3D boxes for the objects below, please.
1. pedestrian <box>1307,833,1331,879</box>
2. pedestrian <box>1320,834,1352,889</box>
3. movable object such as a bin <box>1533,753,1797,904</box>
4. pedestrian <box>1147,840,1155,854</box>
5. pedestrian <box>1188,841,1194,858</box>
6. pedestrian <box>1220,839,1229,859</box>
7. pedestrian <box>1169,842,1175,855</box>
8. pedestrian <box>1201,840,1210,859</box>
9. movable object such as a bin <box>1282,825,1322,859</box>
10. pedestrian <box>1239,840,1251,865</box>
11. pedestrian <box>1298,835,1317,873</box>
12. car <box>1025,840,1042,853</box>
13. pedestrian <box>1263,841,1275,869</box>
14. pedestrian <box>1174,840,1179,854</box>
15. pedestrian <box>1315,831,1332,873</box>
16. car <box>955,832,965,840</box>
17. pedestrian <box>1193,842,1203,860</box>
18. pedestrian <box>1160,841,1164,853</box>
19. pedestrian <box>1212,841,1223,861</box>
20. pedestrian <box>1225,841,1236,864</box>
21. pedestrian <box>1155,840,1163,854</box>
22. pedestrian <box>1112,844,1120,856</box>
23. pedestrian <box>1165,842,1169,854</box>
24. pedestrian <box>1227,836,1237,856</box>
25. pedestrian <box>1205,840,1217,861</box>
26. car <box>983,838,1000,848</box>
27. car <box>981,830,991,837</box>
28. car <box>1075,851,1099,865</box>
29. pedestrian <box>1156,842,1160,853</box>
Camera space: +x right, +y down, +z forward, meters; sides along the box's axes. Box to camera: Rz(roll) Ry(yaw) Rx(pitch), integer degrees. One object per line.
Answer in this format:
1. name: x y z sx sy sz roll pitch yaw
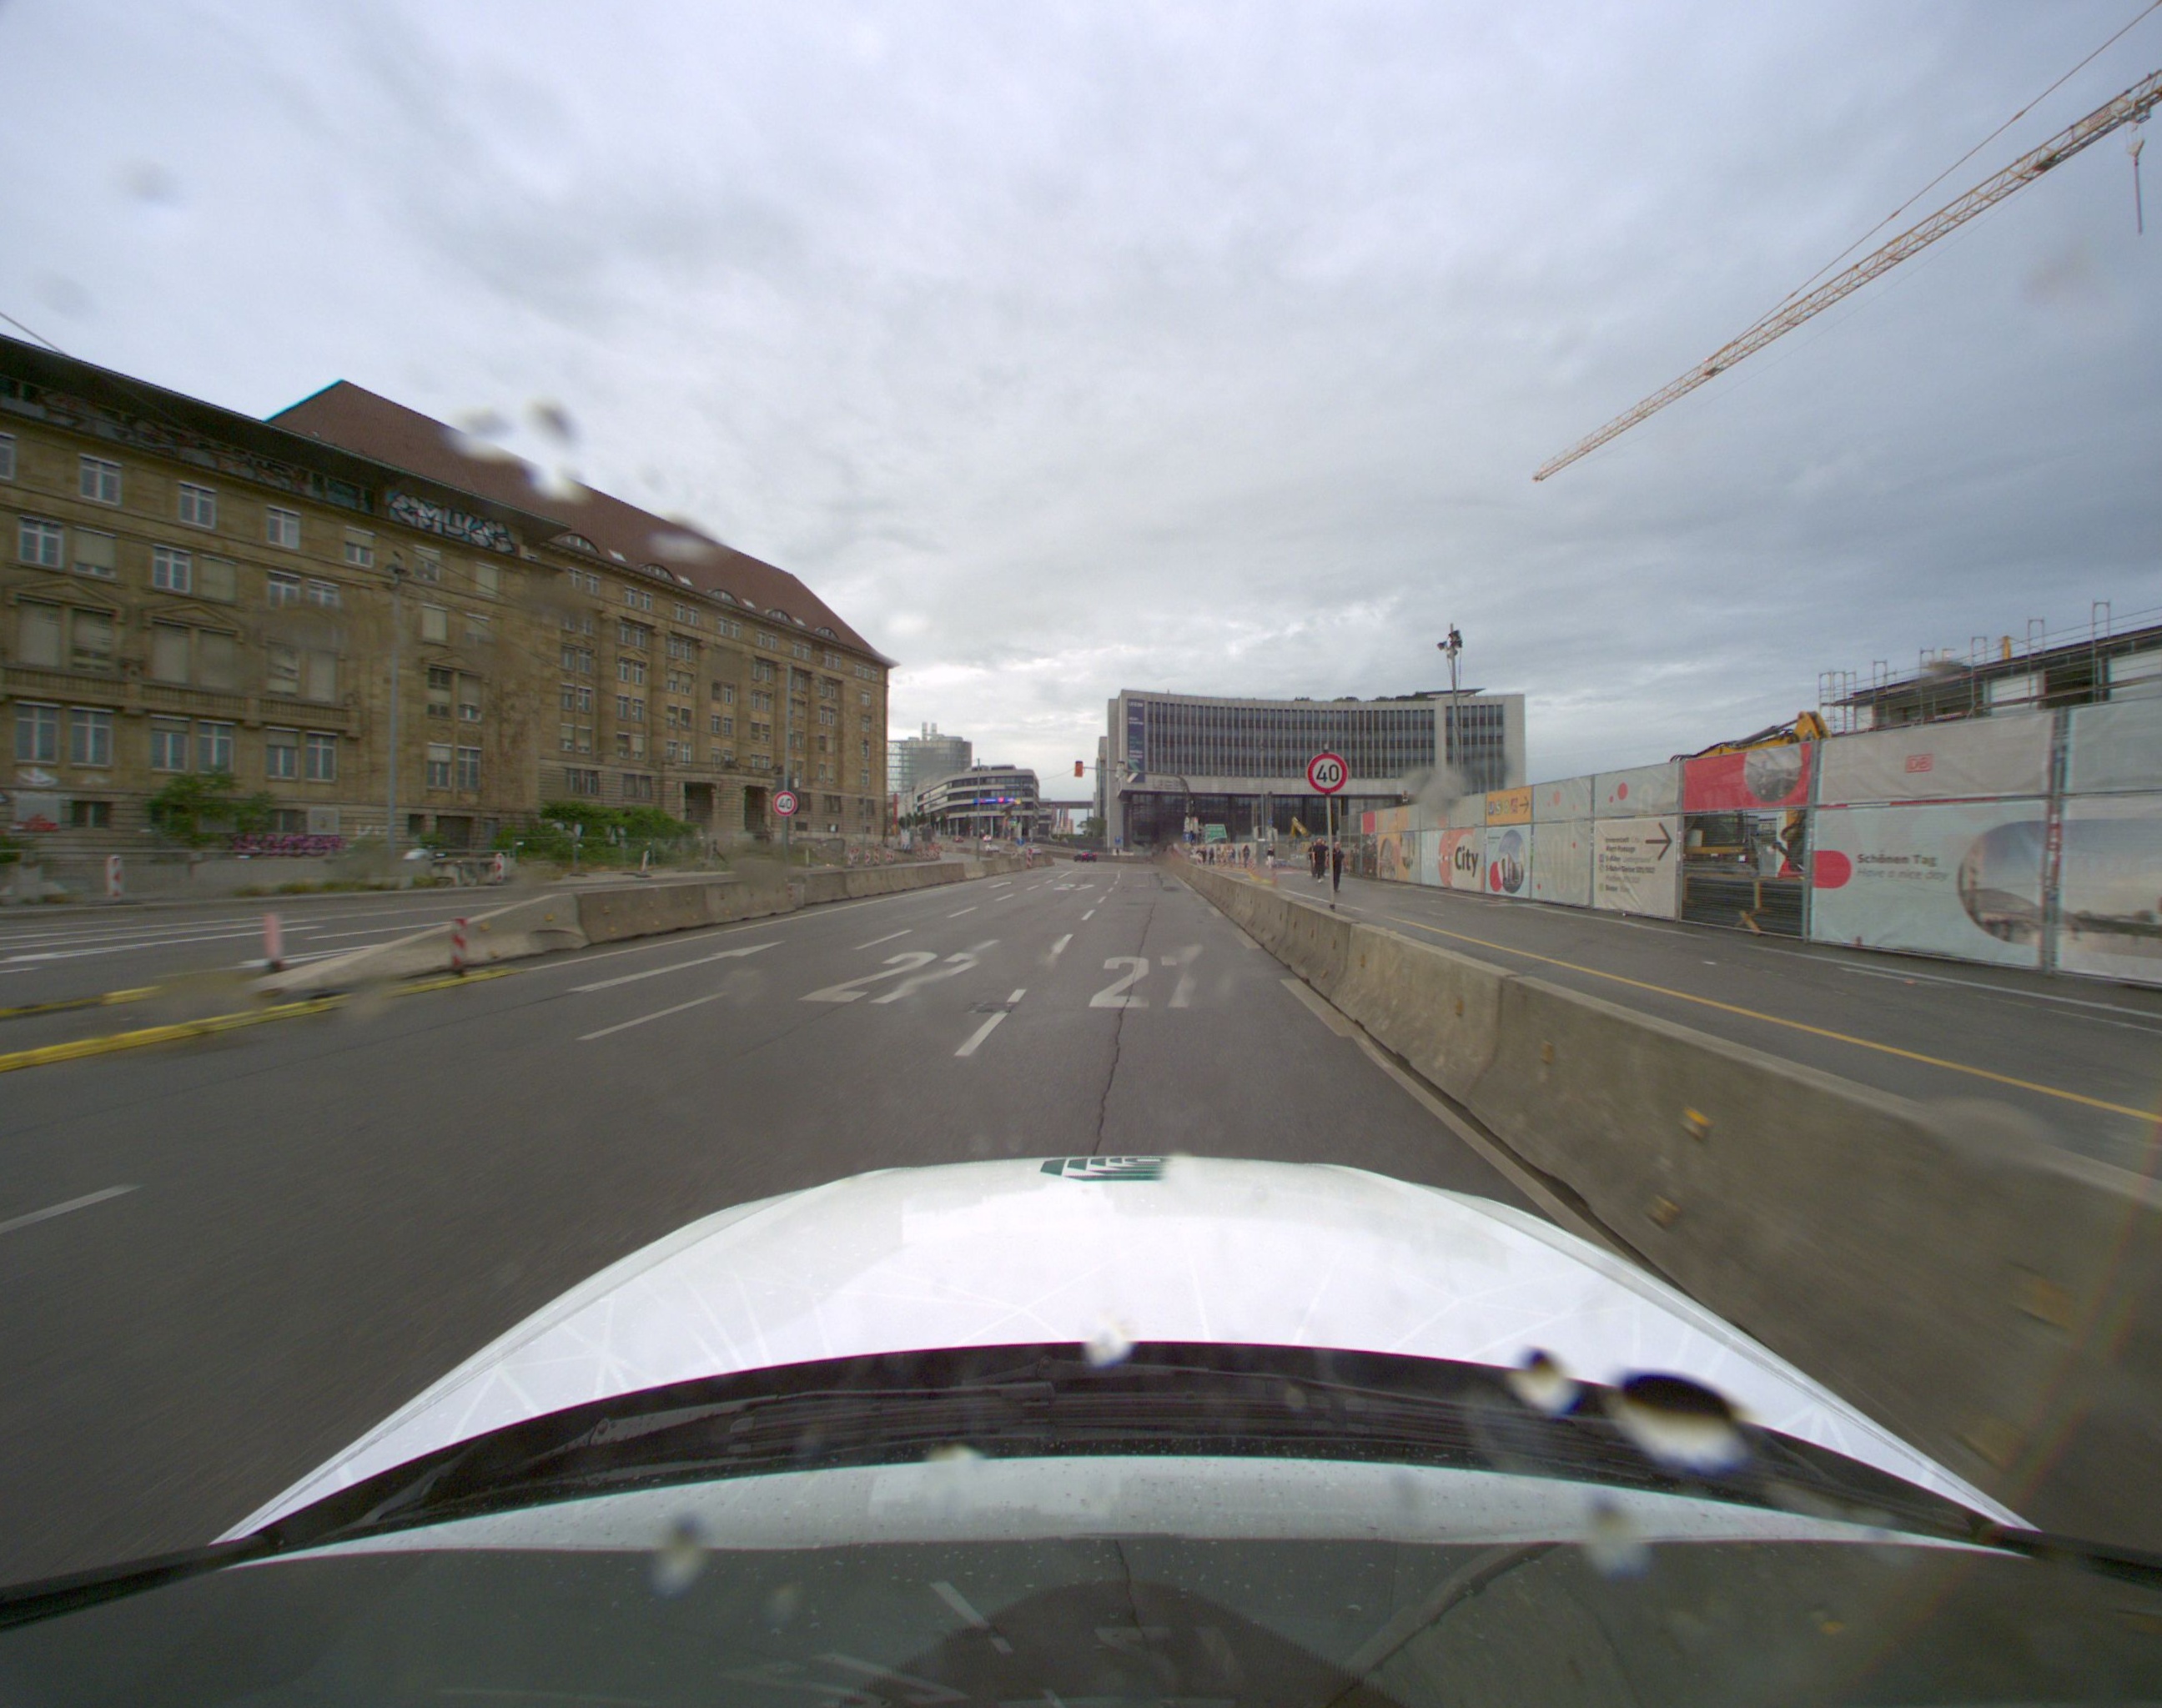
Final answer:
1. pedestrian: 9.948 0.086 34.044 0.792 1.877 0.821 0 0 5
2. pedestrian: 8.633 0.246 27.610 0.921 1.833 0.687 0 0 5
3. movable object such as a bin: 15.044 -0.628 21.488 3.913 3.492 4.358 -1 1 2
4. pedestrian: 8.276 -0.793 95.813 0.750 1.641 0.821 0 1 -9
5. pedestrian: 13.452 -0.549 99.490 0.779 2.013 0.865 0 1 9
6. pedestrian: 13.510 -0.473 76.555 0.730 1.854 0.831 0 0 1
7. pedestrian: 12.307 -0.726 109.774 0.515 1.704 0.568 -1 1 -34
8. pedestrian: 12.539 -0.433 82.140 0.776 1.861 0.811 0 1 -1
9. movable object such as a bin: 26.693 -1.442 98.538 3.097 4.029 3.672 0 0 -20
10. pedestrian: 12.624 -0.109 62.713 0.687 1.861 0.811 0 1 -1
11. pedestrian: 11.055 0.001 39.709 0.792 1.833 0.627 0 0 5
12. car: -7.111 -1.147 120.774 1.743 1.875 3.757 0 1 -16
13. pedestrian: 12.541 0.068 54.279 0.662 1.861 0.683 0 1 -1
14. pedestrian: 12.654 -0.885 107.974 0.527 1.818 0.537 0 1 3
15. pedestrian: 11.950 -0.097 40.064 0.676 2.013 0.687 0 2 4
16. car: -27.718 -4.079 186.621 1.994 1.804 4.250 0 1 -11
17. pedestrian: 11.659 -0.313 81.140 0.816 1.827 1.111 -1 0 0
18. pedestrian: 11.740 -1.012 118.228 0.447 1.704 0.646 0 1 -2
19. pedestrian: 12.572 -0.293 75.030 0.776 1.861 1.058 0 1 -1
20. pedestrian: 12.234 -0.140 66.599 0.776 1.861 0.949 0 1 -1
21. pedestrian: 9.183 -0.774 95.973 0.658 1.641 0.821 0 1 -9
22. pedestrian: 5.261 -0.609 122.547 0.758 1.790 1.051 0 0 -18
23. pedestrian: 11.771 -0.812 111.682 0.445 1.704 0.649 0 1 11
24. pedestrian: 14.719 -0.770 79.197 0.776 1.861 0.811 -1 1 -1
25. pedestrian: 11.693 -0.330 73.275 0.867 1.861 0.948 0 1 -1
26. car: -14.585 -1.761 132.230 1.748 1.506 3.726 0 0 -22
27. car: -22.285 -4.804 190.546 1.994 1.804 4.250 0 1 -11
28. car: 0.672 0.470 96.703 1.679 1.508 3.720 0 -2 -19
29. pedestrian: 11.174 -0.933 118.191 0.452 1.704 0.646 0 1 -2
